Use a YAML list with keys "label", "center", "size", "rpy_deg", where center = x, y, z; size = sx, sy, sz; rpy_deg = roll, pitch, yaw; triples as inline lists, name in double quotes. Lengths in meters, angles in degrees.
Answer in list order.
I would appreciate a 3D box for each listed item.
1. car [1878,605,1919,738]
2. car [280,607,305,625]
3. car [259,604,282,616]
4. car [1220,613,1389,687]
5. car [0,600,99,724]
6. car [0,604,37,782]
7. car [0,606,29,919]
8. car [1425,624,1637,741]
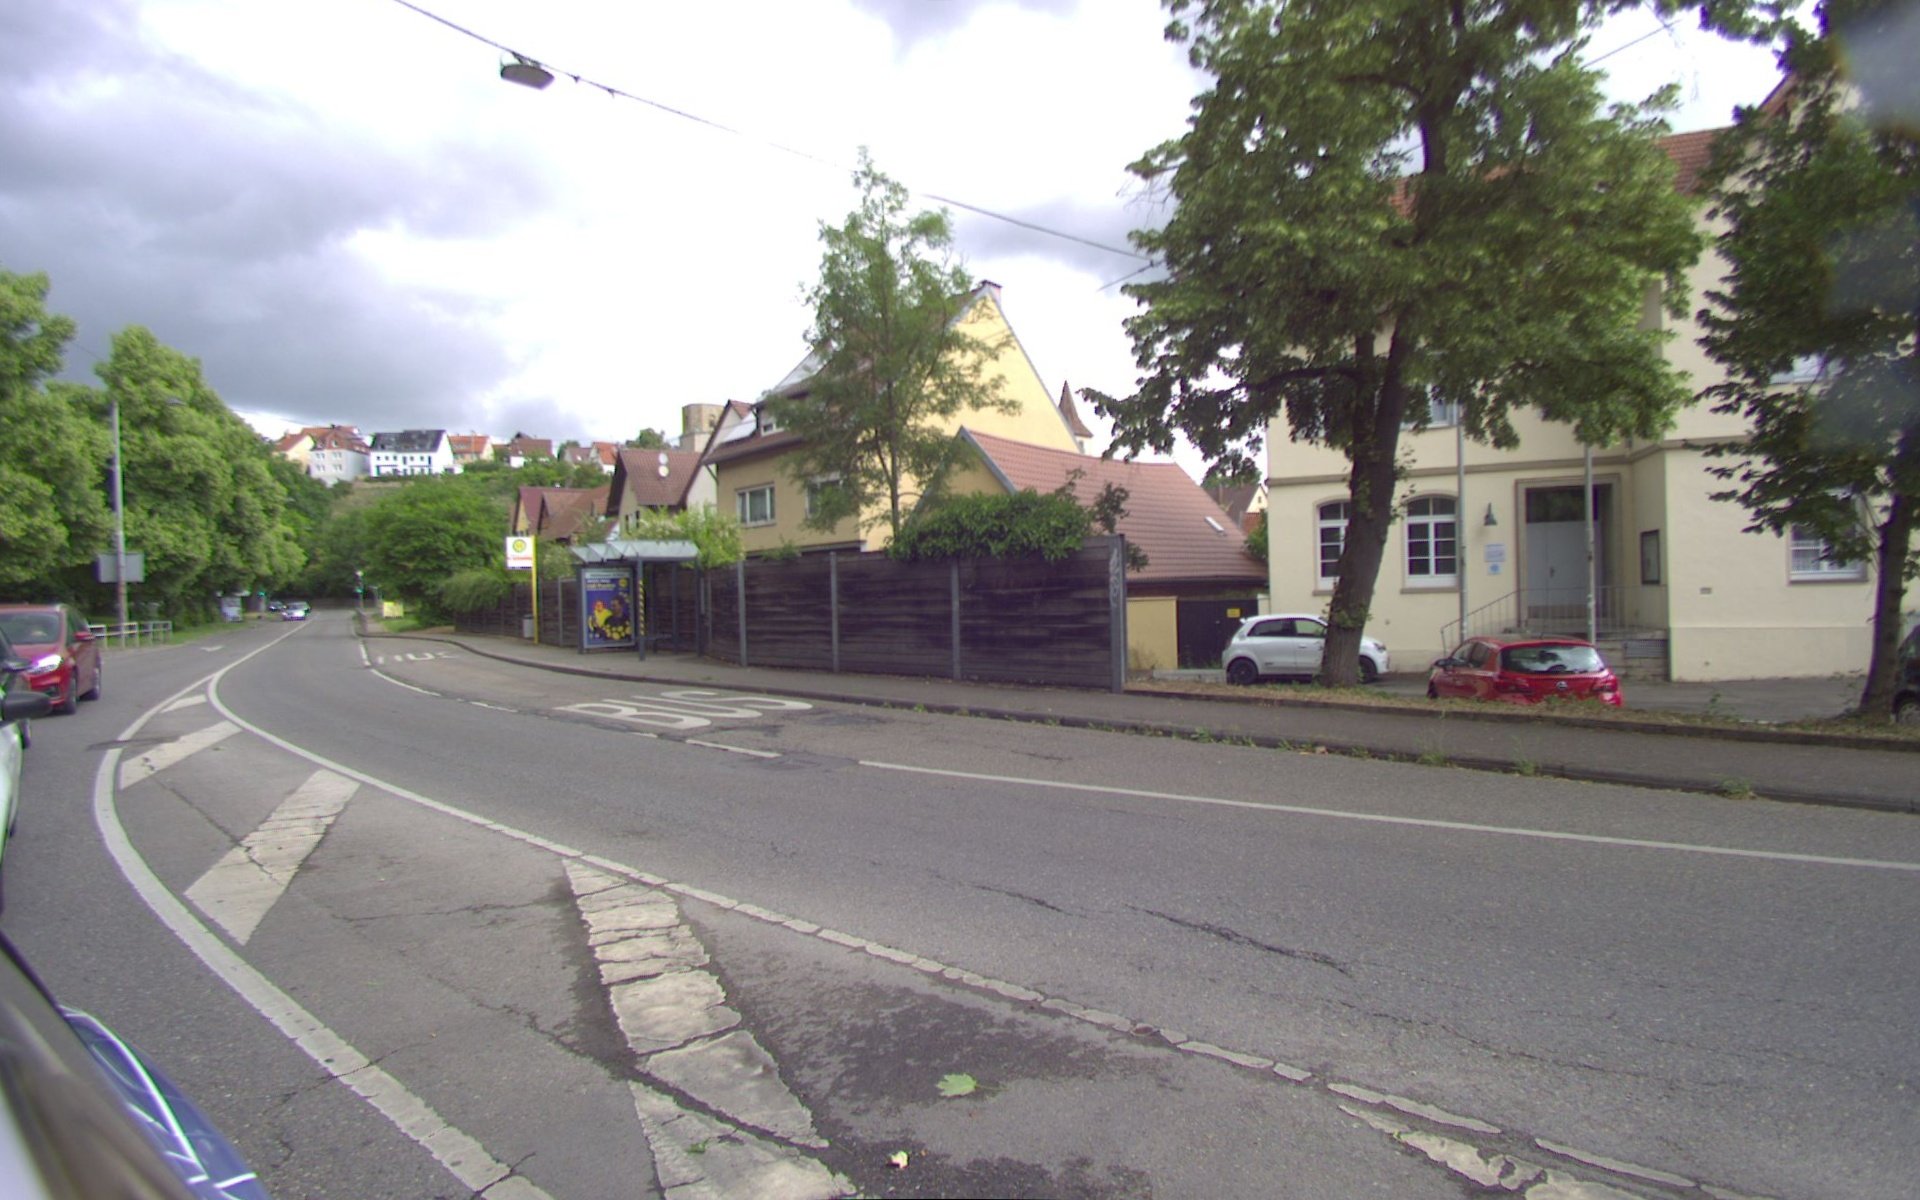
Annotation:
- label: "car"
  center: [12.701, 0.887, 11.580]
  size: [1.586, 1.644, 3.093]
  rpy_deg: [-1, 0, 2]
- label: "car"
  center: [-62.854, 1.466, 95.286]
  size: [1.816, 1.652, 4.012]
  rpy_deg: [-1, 0, -31]
- label: "car"
  center: [-94.755, 1.381, 139.064]
  size: [4.002, 1.630, 1.820]
  rpy_deg: [-1, 0, 44]
- label: "car"
  center: [7.748, 1.105, 22.919]
  size: [3.487, 1.528, 1.581]
  rpy_deg: [-1, 0, 20]
- label: "car"
  center: [-14.508, 0.875, 15.433]
  size: [1.800, 1.685, 4.067]
  rpy_deg: [-1, 0, -37]
- label: "car"
  center: [-10.223, 0.850, 9.849]
  size: [1.699, 1.559, 3.787]
  rpy_deg: [-1, 0, -41]
- label: "car"
  center: [-6.030, 0.813, 5.270]
  size: [1.594, 1.525, 3.610]
  rpy_deg: [-1, 0, -41]
- label: "car"
  center: [8.127, 1.102, 14.763]
  size: [1.590, 1.389, 3.544]
  rpy_deg: [-1, 0, 10]
